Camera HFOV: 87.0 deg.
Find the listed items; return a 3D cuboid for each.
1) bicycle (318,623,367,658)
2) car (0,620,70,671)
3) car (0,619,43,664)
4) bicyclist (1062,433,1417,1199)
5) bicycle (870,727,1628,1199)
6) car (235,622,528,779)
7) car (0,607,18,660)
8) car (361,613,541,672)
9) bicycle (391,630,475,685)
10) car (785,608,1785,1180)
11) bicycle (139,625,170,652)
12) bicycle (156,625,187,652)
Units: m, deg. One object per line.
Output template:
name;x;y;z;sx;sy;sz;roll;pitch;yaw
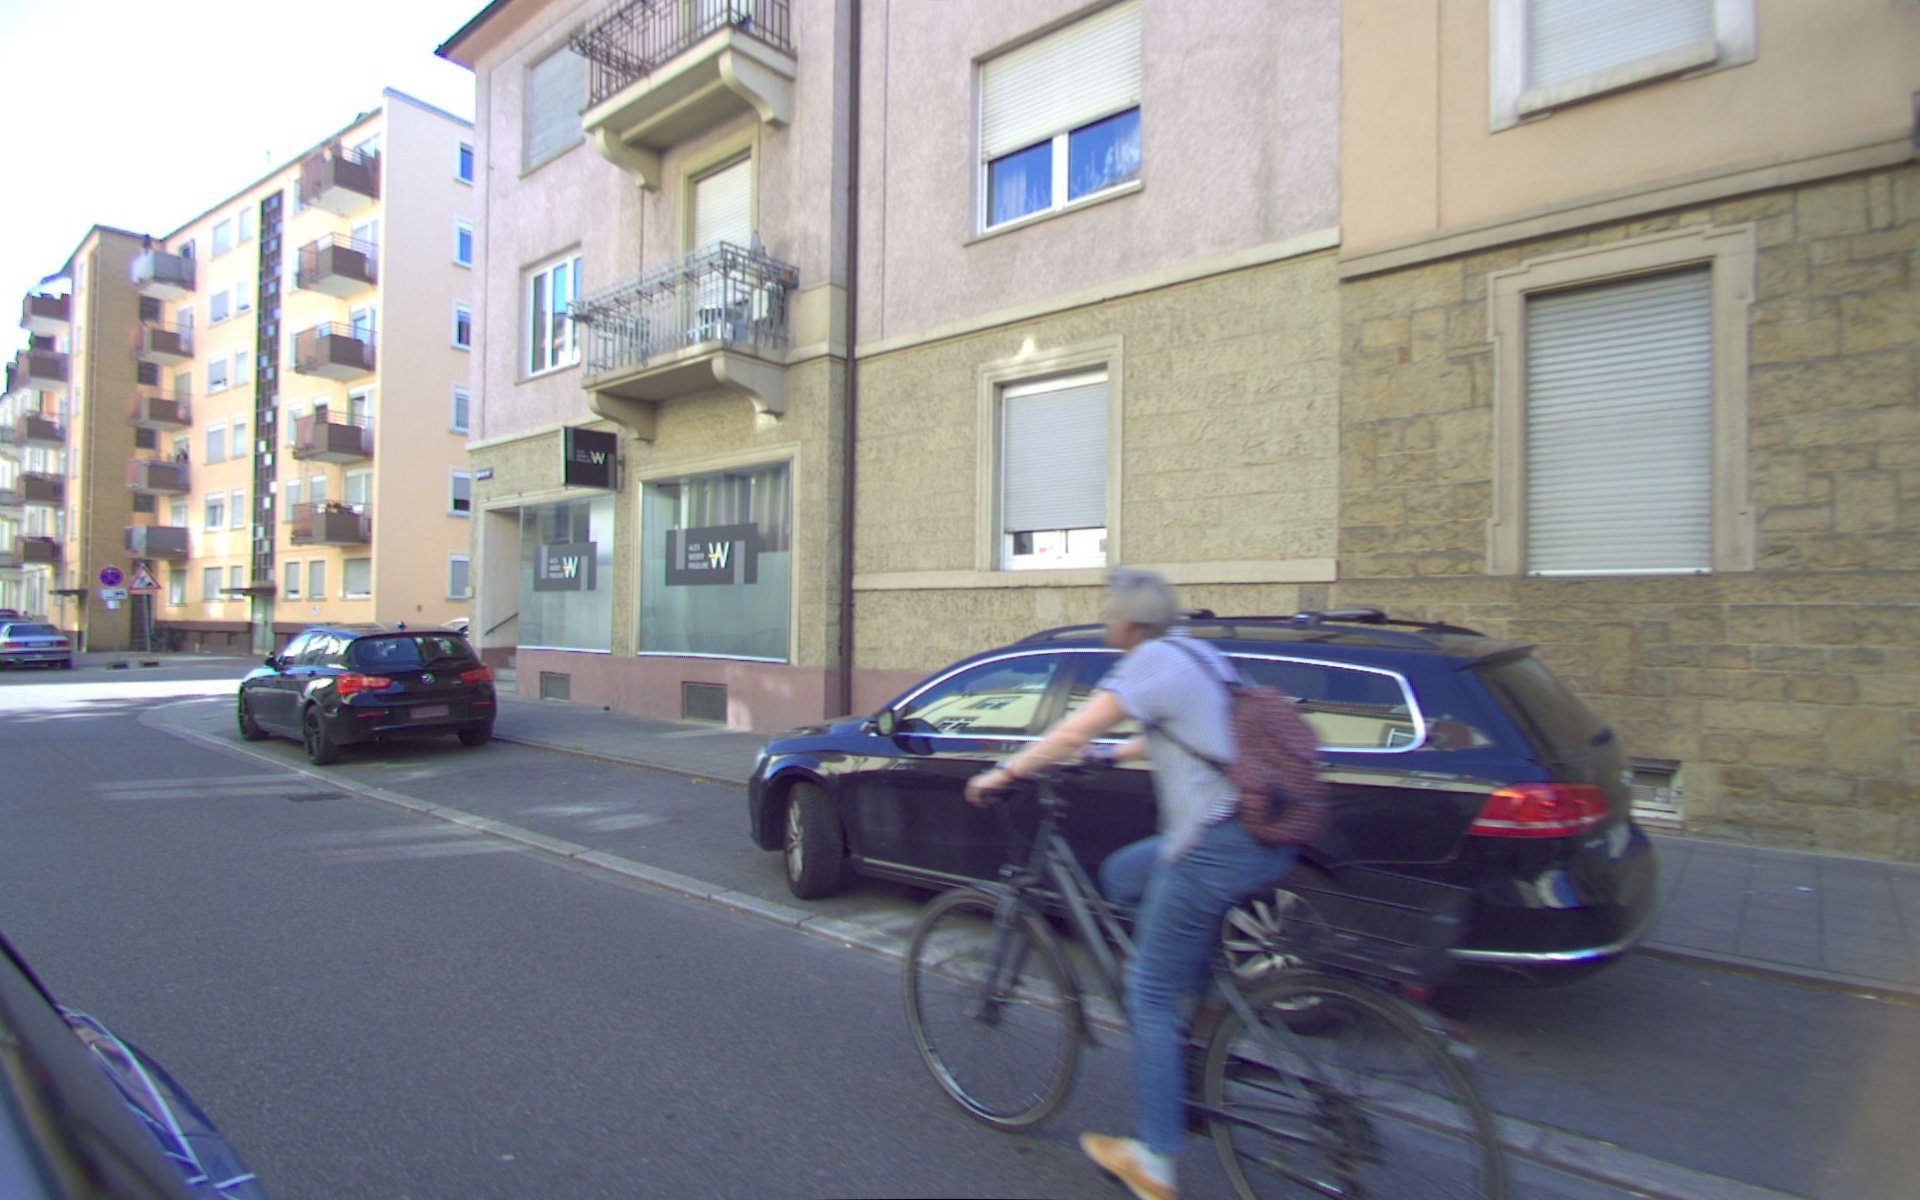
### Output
bicycle;-20.129;1.299;32.961;1.801;1.116;0.680;-1;-2;35
car;-28.051;1.329;30.283;3.499;1.433;1.657;-1;-2;41
car;-31.774;1.357;33.546;3.284;1.433;1.657;-1;-2;41
bicyclist;0.681;0.512;2.474;0.632;1.678;0.601;-2;-3;41
bicycle;0.578;0.946;2.567;1.799;1.084;0.534;-1;-3;42
car;-6.622;0.994;11.422;3.863;1.397;1.697;-1;1;42
car;-36.196;1.234;37.245;4.109;1.892;1.799;-1;-2;41
car;-14.732;1.214;29.527;1.776;1.572;4.404;-1;-2;33
bicycle;-11.469;1.230;22.069;0.433;1.156;1.648;-1;-2;28
car;1.183;0.849;4.728;4.107;1.533;1.697;-1;-3;40
bicycle;-33.212;1.579;41.743;1.801;1.116;0.488;-1;-2;35
bicycle;-32.869;1.586;42.168;1.801;1.116;0.488;-1;-2;35
